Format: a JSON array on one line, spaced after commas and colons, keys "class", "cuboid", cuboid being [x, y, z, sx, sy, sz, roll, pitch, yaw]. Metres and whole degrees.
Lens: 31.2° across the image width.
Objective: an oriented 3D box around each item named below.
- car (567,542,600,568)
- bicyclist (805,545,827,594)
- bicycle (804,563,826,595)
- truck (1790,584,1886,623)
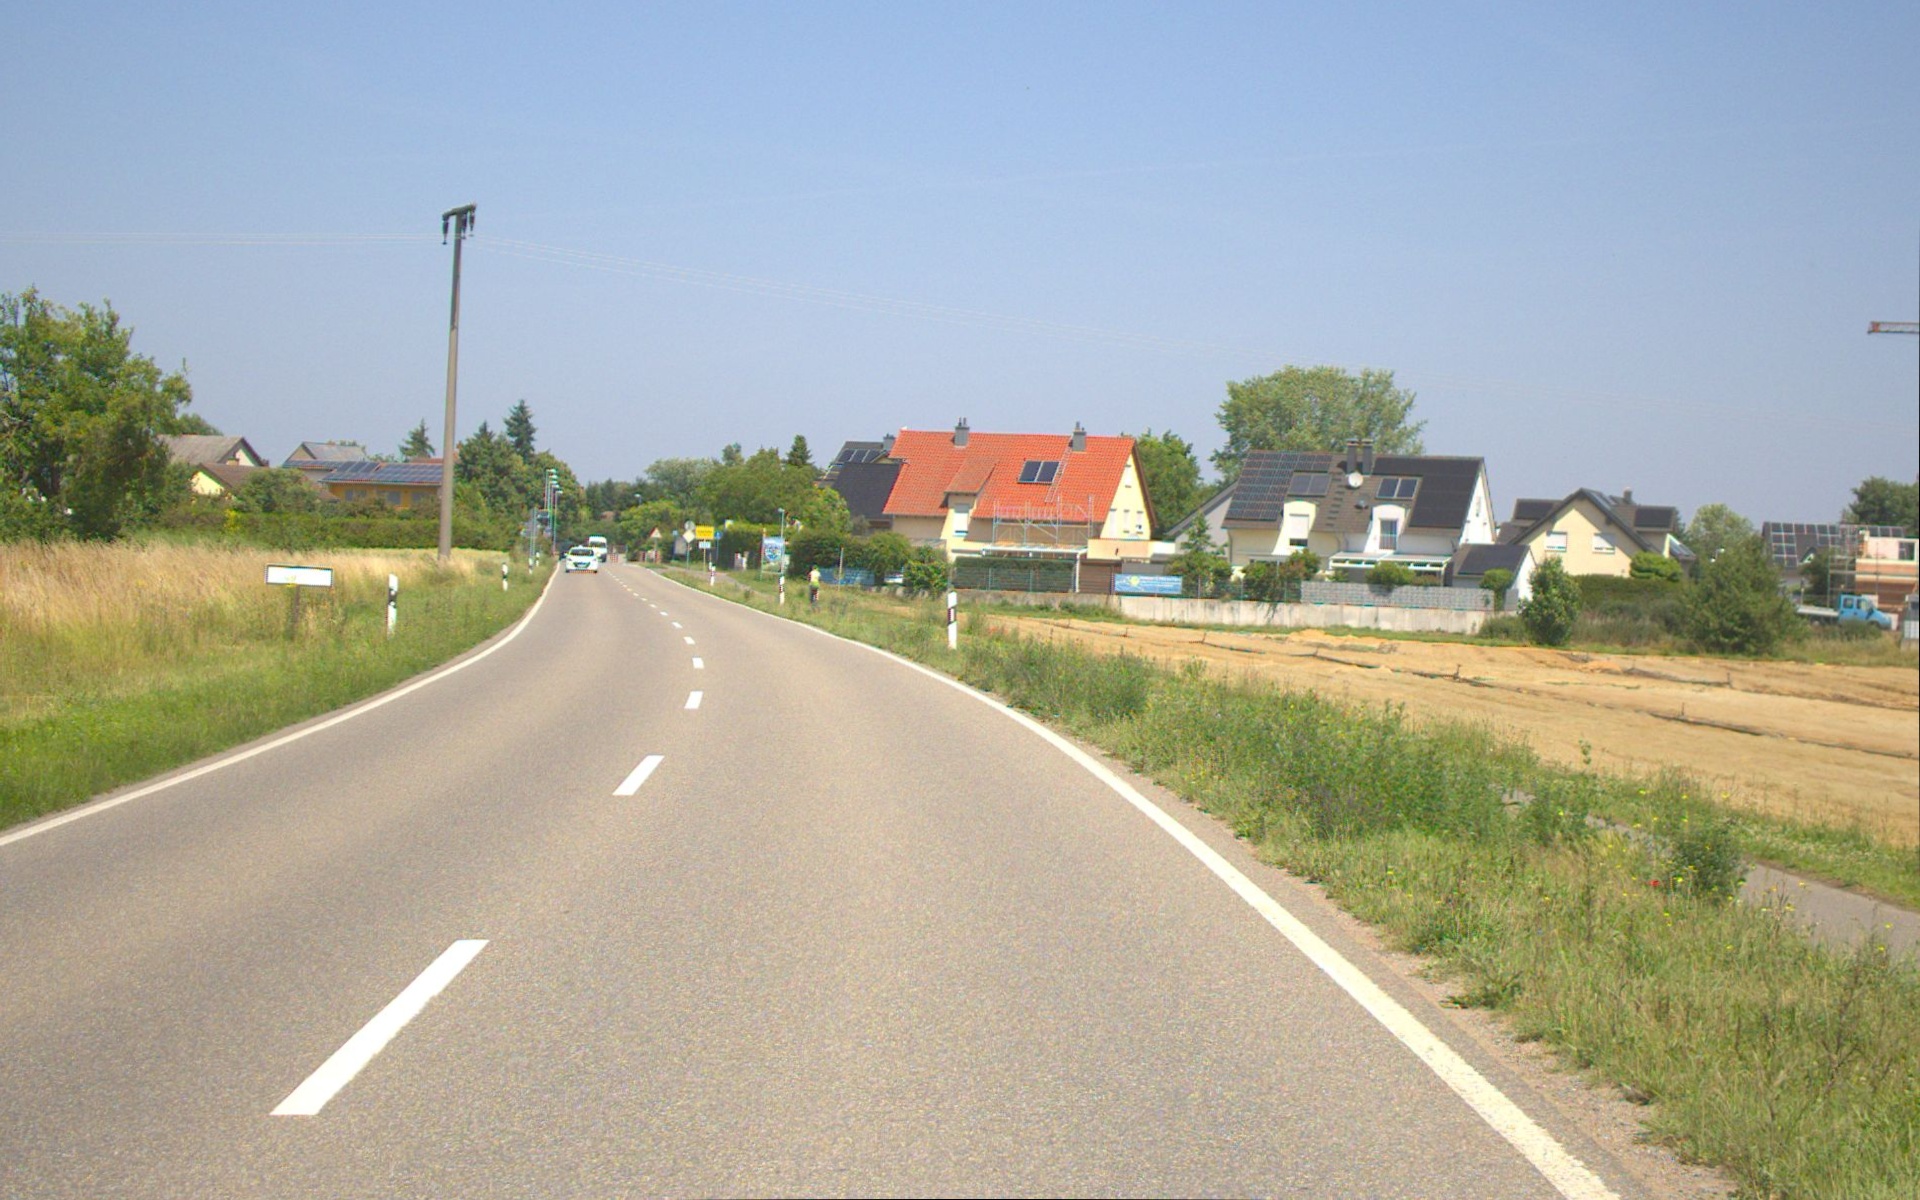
[{"class": "car", "cuboid": [-21.335, -2.553, 194.764, 1.791, 1.404, 4.186, 2, 1, -7]}, {"class": "bicyclist", "cuboid": [-5.629, -1.196, 134.631, 0.645, 1.883, 0.861, 4, 1, -7]}, {"class": "bicycle", "cuboid": [-5.678, -0.818, 134.804, 0.610, 1.155, 2.275, 4, 1, -7]}, {"class": "truck", "cuboid": [54.074, 0.229, 211.700, 5.559, 2.222, 2.213, 2, 1, 19]}]
